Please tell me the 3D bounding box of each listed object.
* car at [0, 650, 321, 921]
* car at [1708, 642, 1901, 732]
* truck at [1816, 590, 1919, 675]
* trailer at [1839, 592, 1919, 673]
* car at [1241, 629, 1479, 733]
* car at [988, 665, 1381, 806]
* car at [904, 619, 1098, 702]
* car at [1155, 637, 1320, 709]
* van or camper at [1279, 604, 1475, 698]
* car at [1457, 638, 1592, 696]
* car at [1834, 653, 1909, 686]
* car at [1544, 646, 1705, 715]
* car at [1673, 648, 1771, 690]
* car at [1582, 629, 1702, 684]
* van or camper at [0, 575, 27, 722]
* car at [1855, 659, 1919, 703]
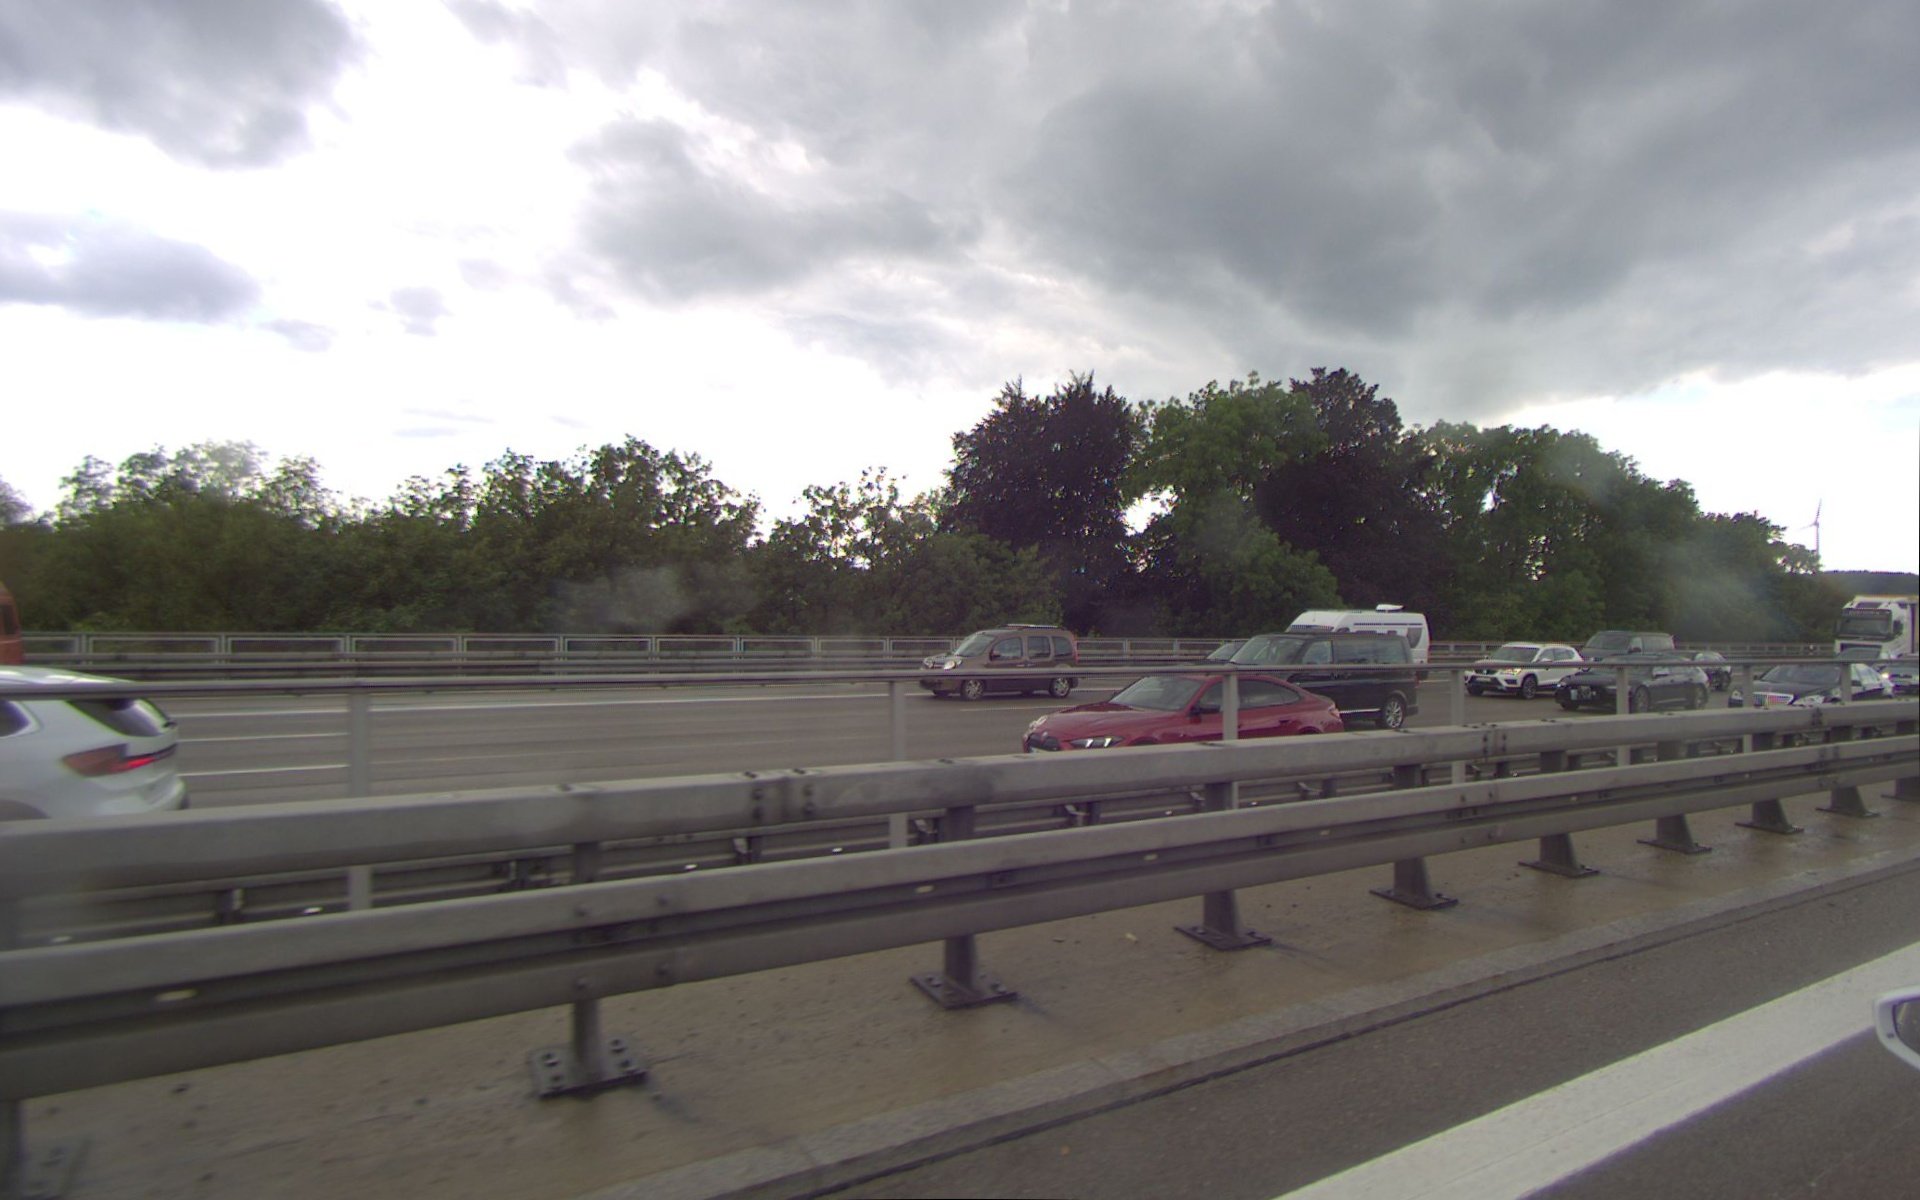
[{"bbox_3d":[-7.496,1.215,6.763,5.297,1.697,1.816,2,-2,-31],"label":"car"},{"bbox_3d":[19.834,1.933,23.500,5.646,1.850,1.856,2,-2,-32],"label":"car"},{"bbox_3d":[49.985,1.787,54.569,6.800,4.306,3.233,2,-2,-30],"label":"truck"},{"bbox_3d":[55.790,1.953,57.929,14.338,4.283,3.232,2,-2,-30],"label":"trailer"},{"bbox_3d":[8.303,1.604,20.717,4.941,1.927,1.885,2,-2,-29],"label":"car"},{"bbox_3d":[3.079,1.620,13.211,5.306,1.410,1.863,2,-2,-32],"label":"car"},{"bbox_3d":[1.109,1.522,26.014,4.707,1.970,2.065,2,-2,-32],"label":"car"},{"bbox_3d":[6.764,1.708,24.389,3.956,1.600,1.668,2,-2,-32],"label":"car"},{"bbox_3d":[13.632,1.614,32.594,7.152,2.802,2.189,2,-1,-32],"label":"van or camper"},{"bbox_3d":[17.209,2.001,30.562,4.415,1.634,1.718,2,-2,-33],"label":"car"},{"bbox_3d":[39.518,2.987,43.525,3.957,1.318,1.439,2,-2,-33],"label":"car"},{"bbox_3d":[17.209,2.011,25.959,4.415,1.634,1.852,2,-2,-33],"label":"car"},{"bbox_3d":[28.150,2.510,37.070,3.957,1.437,1.624,2,-2,-33],"label":"car"},{"bbox_3d":[27.147,2.220,39.925,5.353,2.040,1.983,2,-2,-32],"label":"car"},{"bbox_3d":[-18.009,0.644,14.582,6.164,2.335,1.930,3,-3,-31],"label":"van or camper"},{"bbox_3d":[34.764,2.918,36.823,4.428,1.444,1.806,2,-2,-33],"label":"car"}]
